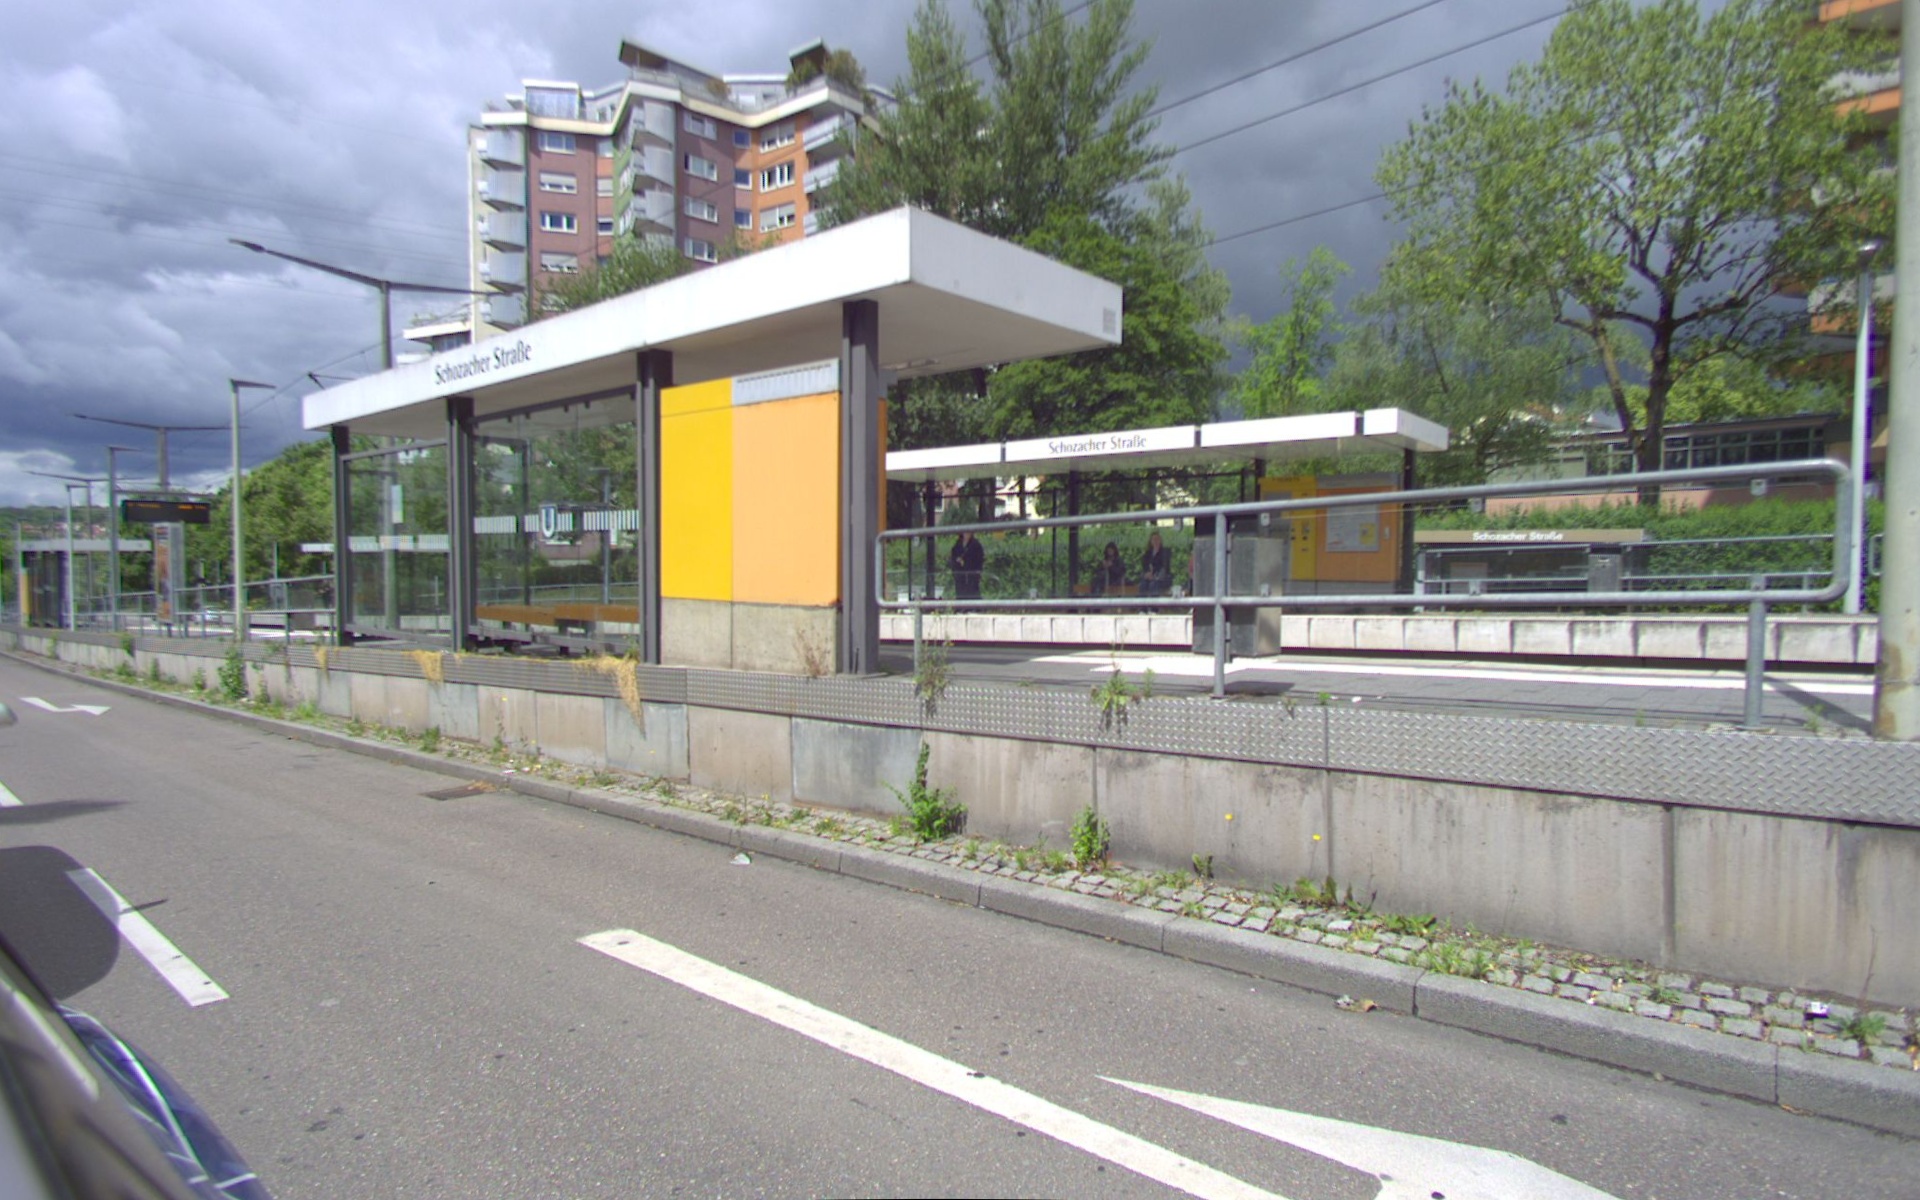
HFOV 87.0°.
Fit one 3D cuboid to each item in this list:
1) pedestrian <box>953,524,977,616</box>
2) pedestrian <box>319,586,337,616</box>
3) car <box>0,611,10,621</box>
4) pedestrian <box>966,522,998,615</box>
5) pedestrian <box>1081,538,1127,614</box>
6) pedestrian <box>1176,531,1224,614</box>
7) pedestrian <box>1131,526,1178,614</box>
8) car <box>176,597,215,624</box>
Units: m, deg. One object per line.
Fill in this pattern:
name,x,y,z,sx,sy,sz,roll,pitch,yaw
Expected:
pedestrian,0.089,-0.561,19.141,0.421,1.726,0.353,-1,0,-1
pedestrian,-28.232,0.042,45.227,0.527,1.287,0.563,-1,0,-15
car,-140.716,2.401,148.554,3.709,1.413,1.621,0,0,45
pedestrian,0.411,-0.587,19.137,0.544,1.726,0.386,-1,0,-2
pedestrian,2.490,-0.404,17.490,0.463,1.287,0.704,-1,0,40
pedestrian,3.829,-0.421,16.136,0.463,1.287,0.704,-1,0,40
pedestrian,3.205,-0.484,16.689,0.463,1.428,0.704,-1,0,40
car,-60.454,0.824,80.005,4.000,2.029,1.714,-1,0,43
